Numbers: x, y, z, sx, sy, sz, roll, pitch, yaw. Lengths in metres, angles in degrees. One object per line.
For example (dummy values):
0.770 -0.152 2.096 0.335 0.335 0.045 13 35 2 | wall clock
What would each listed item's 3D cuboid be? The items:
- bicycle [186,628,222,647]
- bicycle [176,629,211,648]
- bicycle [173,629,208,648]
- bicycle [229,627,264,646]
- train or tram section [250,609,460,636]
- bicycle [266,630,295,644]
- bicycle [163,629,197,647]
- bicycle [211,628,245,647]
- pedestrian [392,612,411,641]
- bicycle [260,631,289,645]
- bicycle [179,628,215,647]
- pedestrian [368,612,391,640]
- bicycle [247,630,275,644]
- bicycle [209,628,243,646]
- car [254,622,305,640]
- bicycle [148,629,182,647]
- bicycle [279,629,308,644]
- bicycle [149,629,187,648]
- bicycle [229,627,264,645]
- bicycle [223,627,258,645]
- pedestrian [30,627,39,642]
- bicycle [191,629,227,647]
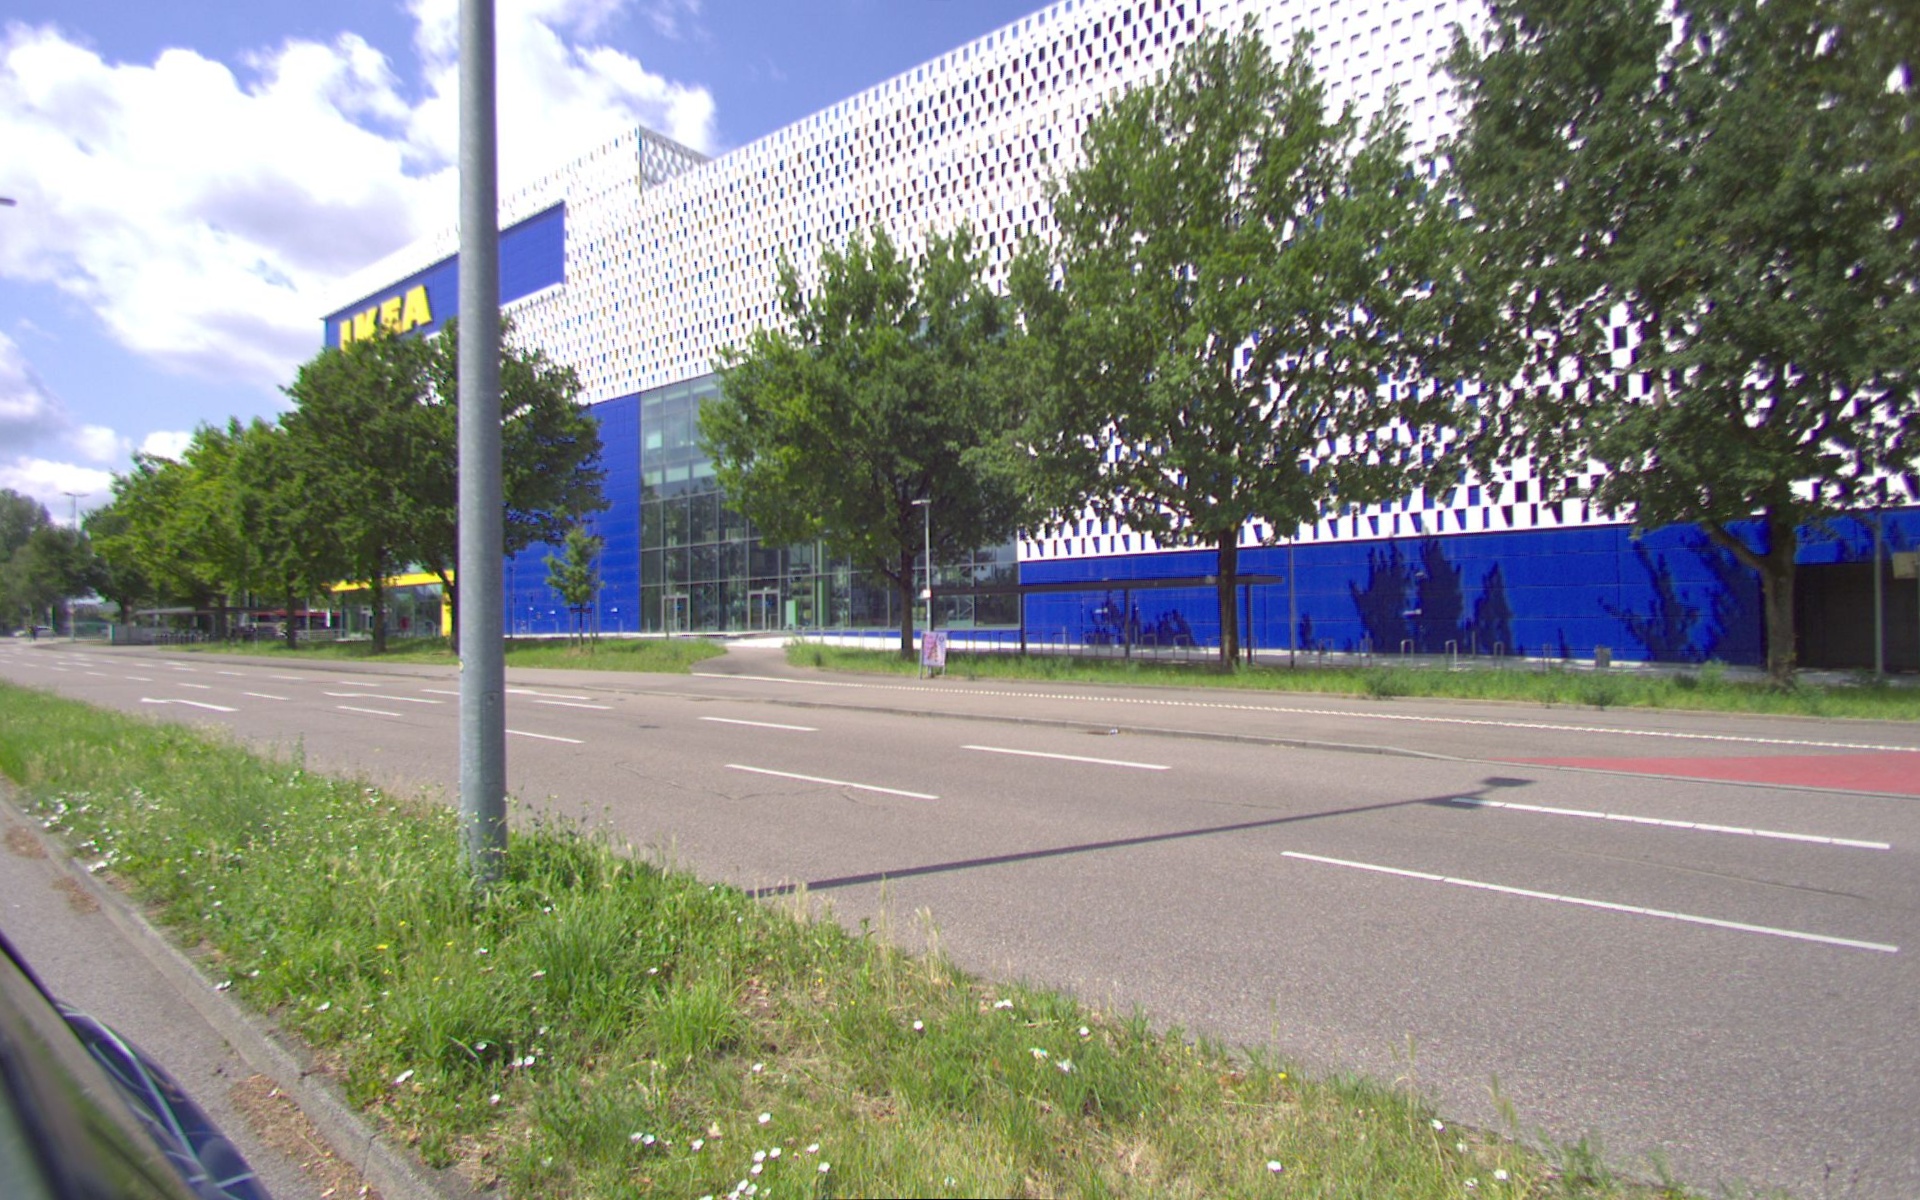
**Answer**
-52.391 2.586 70.158 0.629 1.282 1.906 -3 -2 38 | bicycle
-54.411 2.730 71.876 0.629 1.282 1.906 -3 -2 38 | bicycle
-55.200 2.739 72.604 0.629 1.282 1.906 -3 -2 38 | bicycle
-50.158 2.529 71.130 0.629 1.282 1.906 -3 -2 38 | bicycle
-81.668 3.221 138.101 4.523 3.055 24.810 -2 -3 37 | train or tram section
-55.819 3.054 83.151 0.528 1.078 1.917 -1 -1 34 | bicycle
-57.070 2.774 74.061 0.629 1.282 1.906 -3 -2 38 | bicycle
-53.193 2.706 73.532 0.629 1.282 1.906 -3 -2 38 | bicycle
-35.586 1.696 64.487 0.886 1.836 0.746 -2 -1 39 | pedestrian
-56.745 3.146 83.793 0.519 1.098 1.913 -3 -2 35 | bicycle
-53.436 2.611 70.875 0.629 1.282 1.906 -3 -2 38 | bicycle
-36.299 1.627 63.286 0.886 1.715 0.941 -2 -1 39 | pedestrian
-59.007 3.112 85.443 0.528 1.078 1.917 -1 -1 34 | bicycle
-53.886 2.706 74.280 0.629 1.282 1.906 -3 -2 38 | bicycle
-82.075 3.764 122.094 1.996 2.029 4.764 -3 -2 36 | car
-59.936 2.872 76.302 0.629 1.282 1.906 -3 -2 38 | bicycle
-54.361 2.958 82.572 0.528 1.219 1.917 -1 -1 34 | bicycle
-58.203 2.832 74.378 0.629 1.282 2.069 -3 -2 38 | bicycle
-49.635 2.482 70.385 0.629 1.193 1.906 -3 -2 38 | bicycle
-51.026 2.538 71.800 0.629 1.188 1.906 -3 -2 38 | bicycle
-89.713 3.357 98.072 0.615 1.502 0.435 -1 -1 23 | pedestrian
-51.495 2.595 69.433 0.629 1.192 1.906 -3 -2 38 | bicycle
